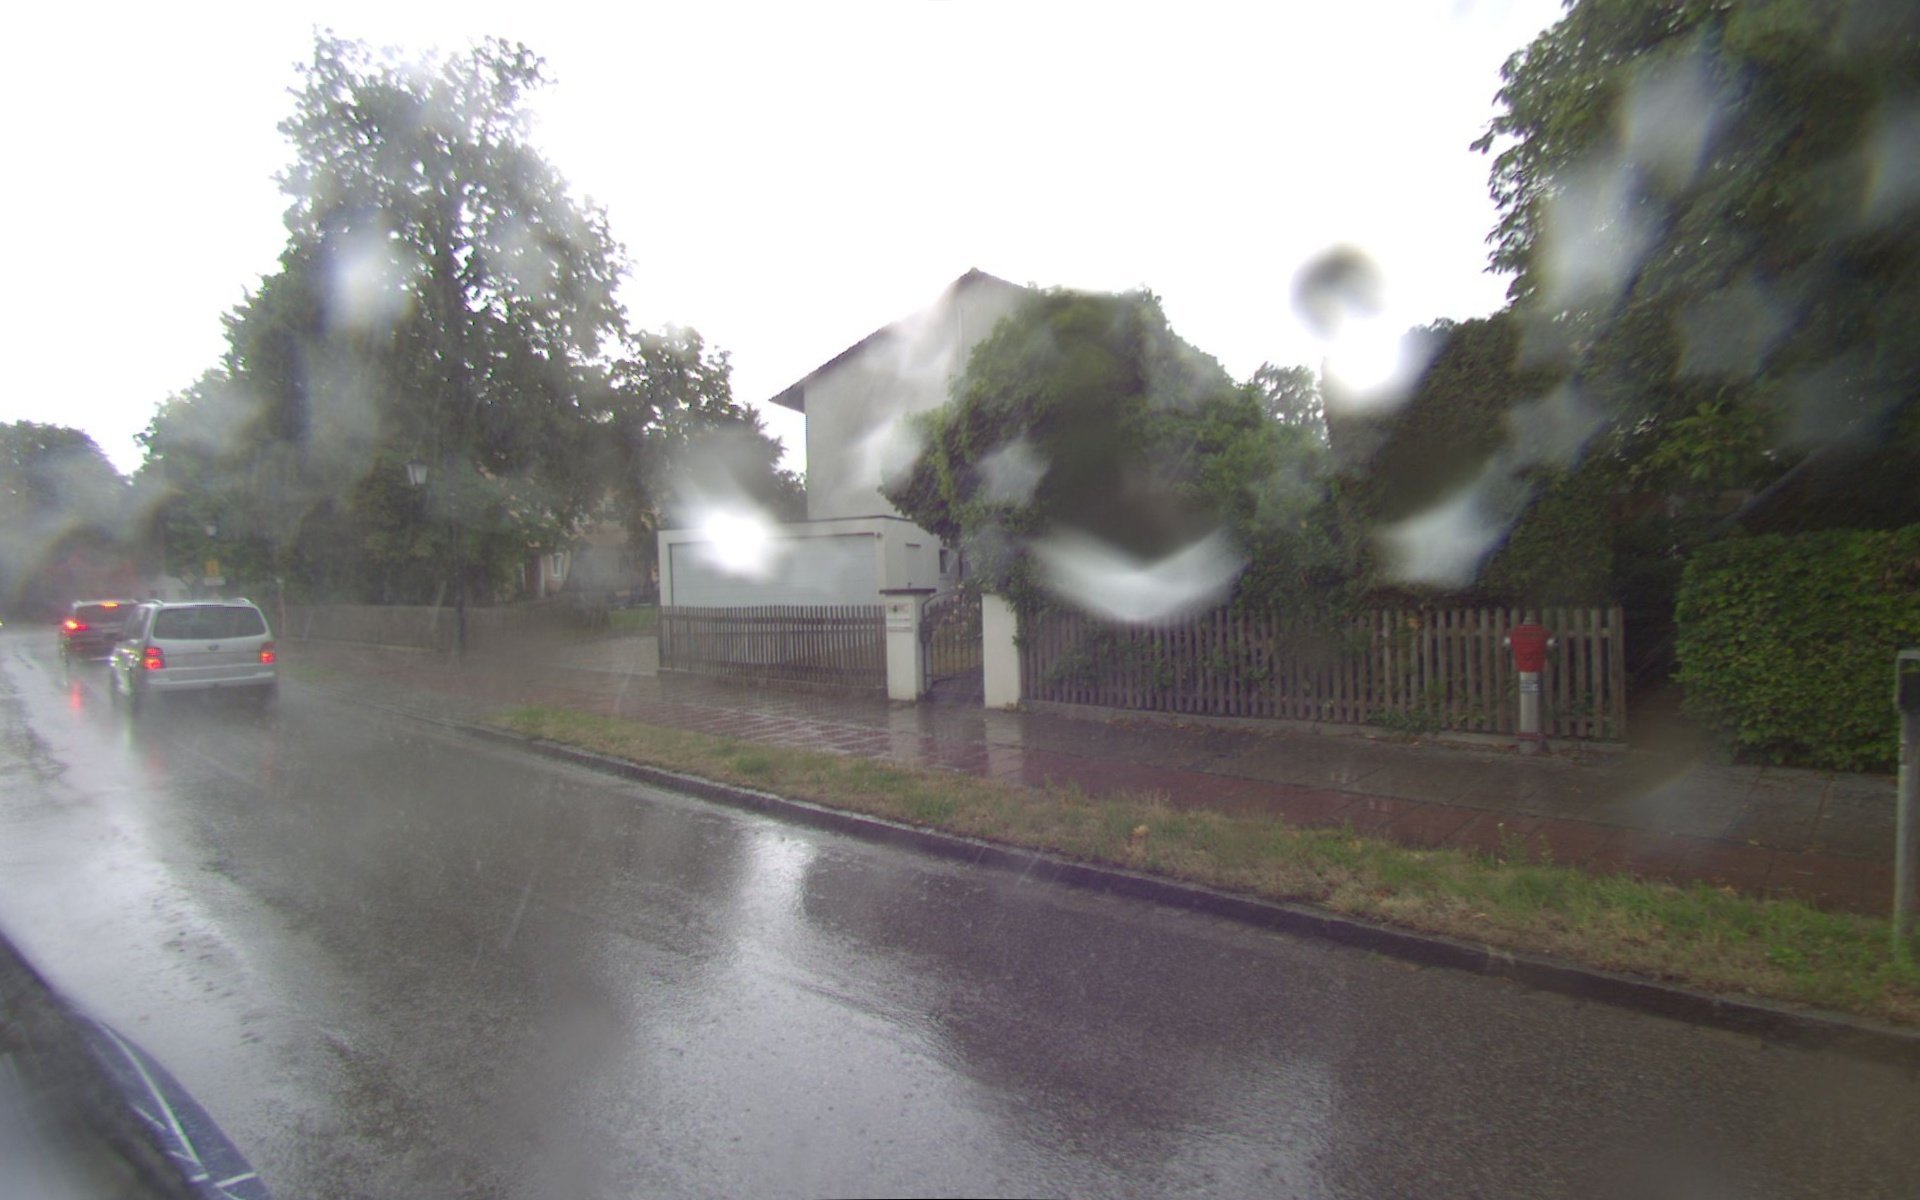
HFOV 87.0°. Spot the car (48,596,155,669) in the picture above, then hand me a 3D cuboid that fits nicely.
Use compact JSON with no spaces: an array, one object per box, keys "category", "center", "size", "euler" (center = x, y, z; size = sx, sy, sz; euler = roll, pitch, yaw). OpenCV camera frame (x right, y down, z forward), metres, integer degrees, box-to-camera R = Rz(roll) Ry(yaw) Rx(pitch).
[{"category":"car","center":[-22.736,0.805,26.755],"size":[1.900,1.757,4.195],"euler":[0,-1,-44]}]

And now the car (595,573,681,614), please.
[{"category":"car","center":[-16.328,-0.343,51.418],"size":[3.619,1.815,1.836],"euler":[-3,2,12]}]

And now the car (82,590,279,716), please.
[{"category":"car","center":[-12.015,0.739,15.506],"size":[4.000,1.690,1.734],"euler":[-1,-1,43]}]
